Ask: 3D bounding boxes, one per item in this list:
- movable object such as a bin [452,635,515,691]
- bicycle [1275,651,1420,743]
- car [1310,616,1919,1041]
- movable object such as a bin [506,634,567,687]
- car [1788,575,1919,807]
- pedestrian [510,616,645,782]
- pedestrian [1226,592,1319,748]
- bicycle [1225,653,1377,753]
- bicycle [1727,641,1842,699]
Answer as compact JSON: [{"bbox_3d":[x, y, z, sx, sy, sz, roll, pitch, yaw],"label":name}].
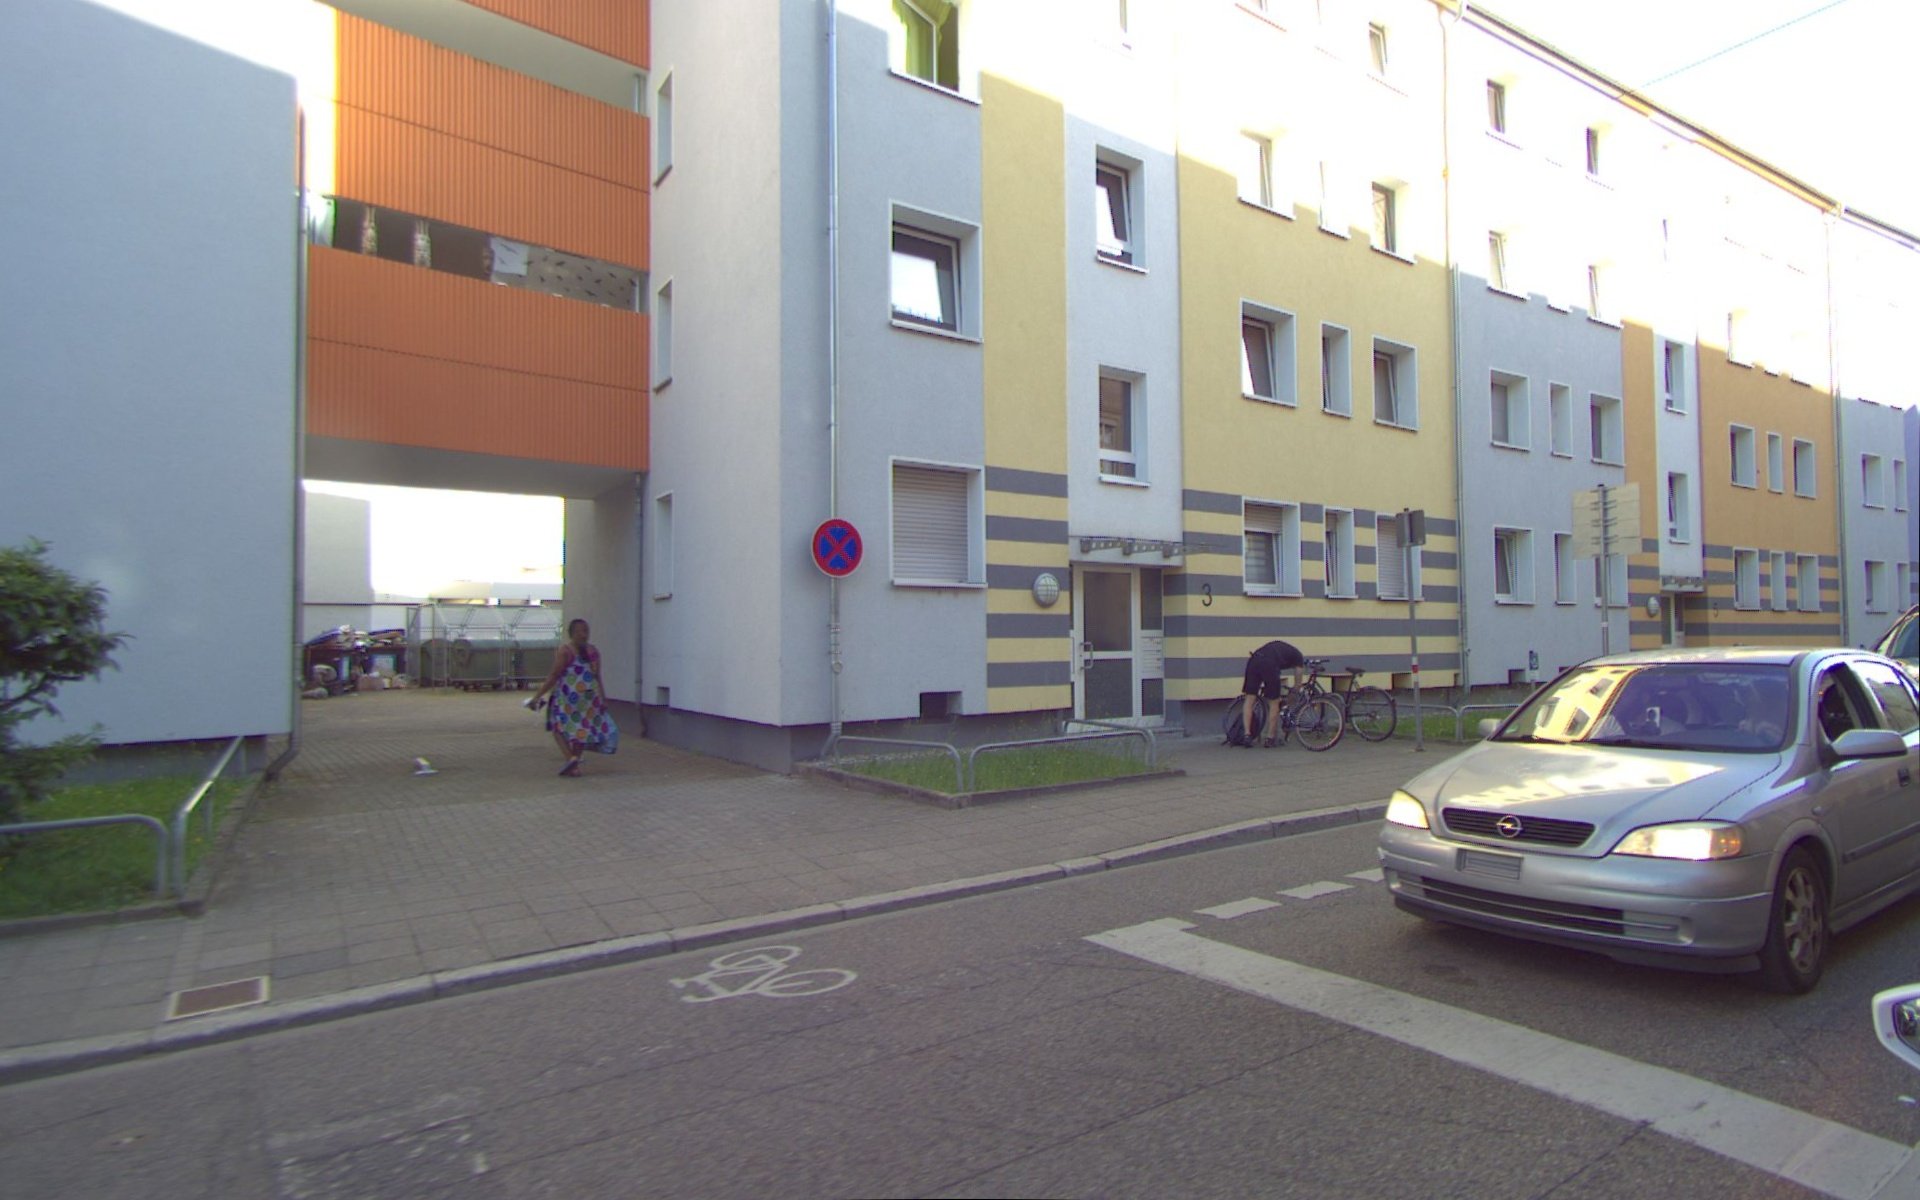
[{"bbox_3d":[-13.259,1.732,27.949,1.367,1.490,1.192,1,-2,-37],"label":"movable object such as a bin"},{"bbox_3d":[5.236,1.279,13.666,0.645,1.160,1.739,1,-3,-38],"label":"bicycle"},{"bbox_3d":[3.969,0.901,5.453,4.092,1.505,1.732,1,-5,-33],"label":"car"},{"bbox_3d":[-12.143,1.714,28.798,1.367,1.490,1.192,1,-2,-37],"label":"movable object such as a bin"},{"bbox_3d":[9.913,0.762,9.307,5.038,1.858,1.890,1,-4,-32],"label":"car"},{"bbox_3d":[-3.964,0.977,10.396,1.070,1.593,1.004,1,-2,-37],"label":"pedestrian"},{"bbox_3d":[3.895,0.859,12.574,0.854,1.879,0.721,0,-2,-9],"label":"pedestrian"},{"bbox_3d":[4.252,1.251,12.654,0.645,1.160,1.739,1,-3,-38],"label":"bicycle"},{"bbox_3d":[17.183,1.447,20.980,0.645,1.160,1.739,1,-3,-38],"label":"bicycle"}]
